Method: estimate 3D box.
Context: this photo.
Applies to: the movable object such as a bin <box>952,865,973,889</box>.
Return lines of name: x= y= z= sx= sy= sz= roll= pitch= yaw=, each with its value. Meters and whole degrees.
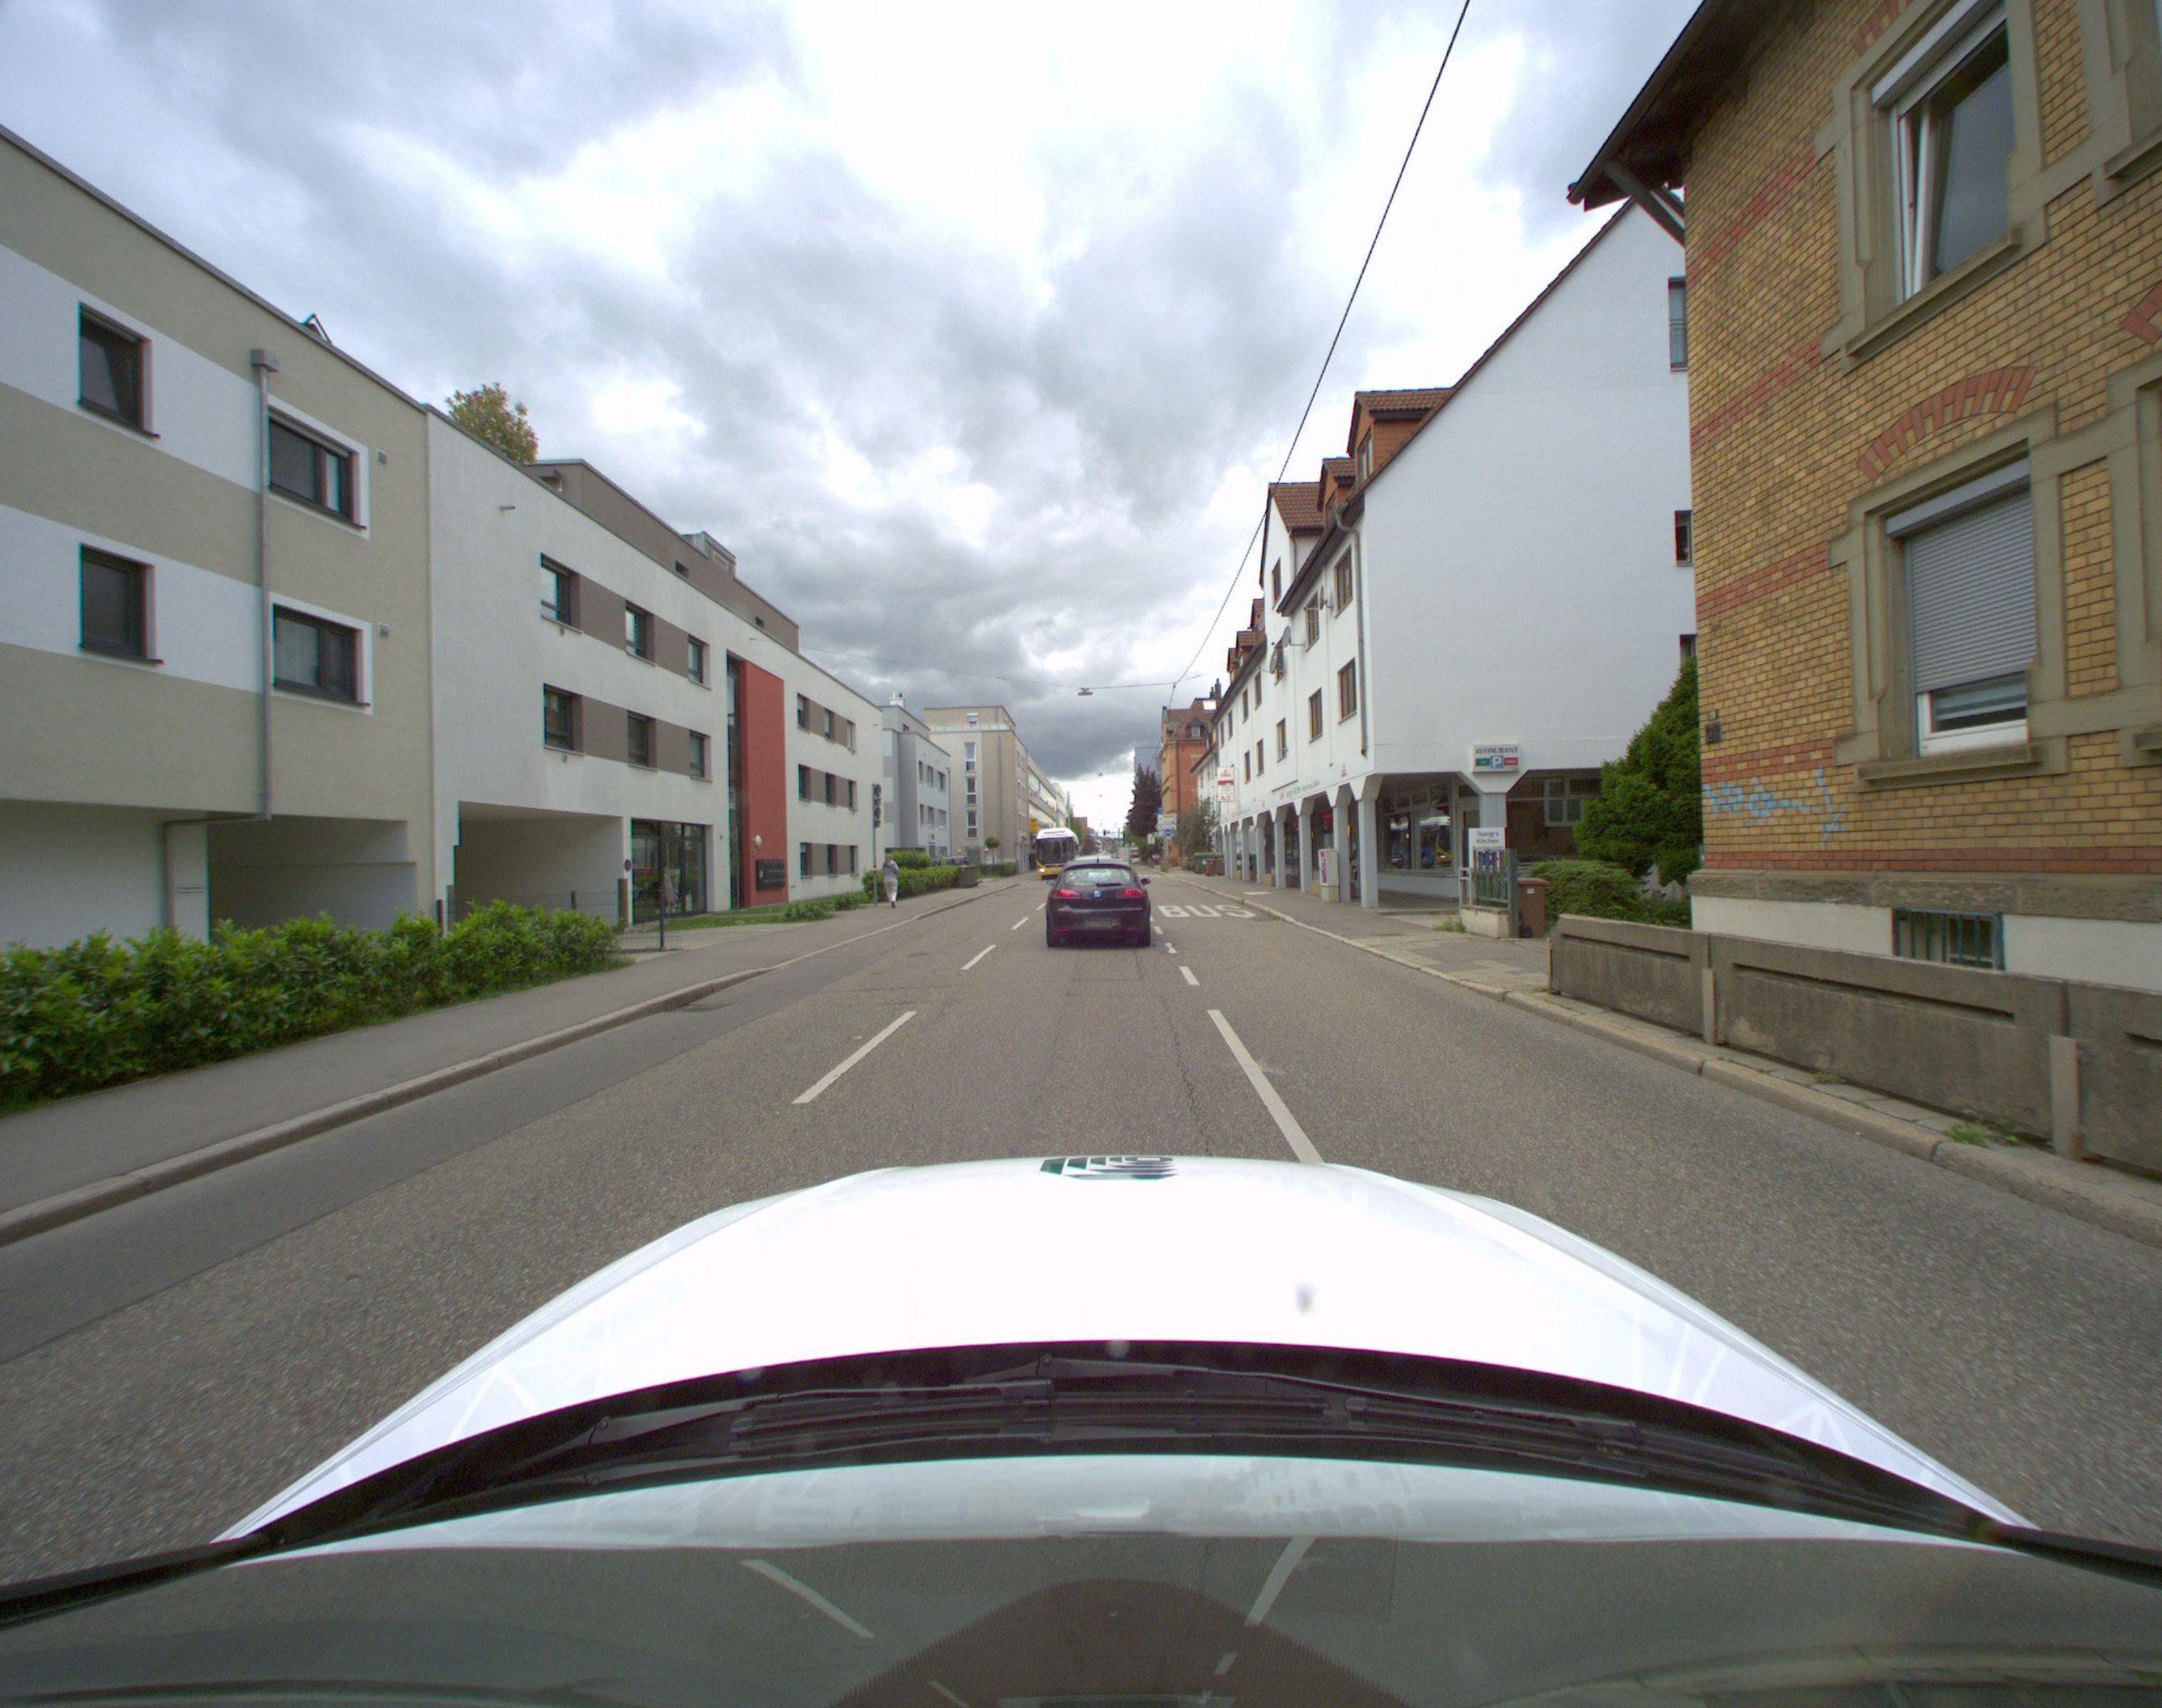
movable object such as a bin: x=-5.679 y=1.104 z=38.943 sx=0.892 sy=1.089 sz=0.792 roll=-1 pitch=0 yaw=-3

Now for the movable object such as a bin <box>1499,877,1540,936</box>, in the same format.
movable object such as a bin: x=6.914 y=0.821 z=12.851 sx=0.396 sy=0.904 sz=0.456 roll=-1 pitch=0 yaw=2

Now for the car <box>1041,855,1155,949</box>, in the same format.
car: x=0.327 y=0.762 z=14.689 sx=1.759 sy=1.433 sz=3.830 roll=-1 pitch=0 yaw=2

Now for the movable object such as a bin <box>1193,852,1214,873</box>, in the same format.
movable object such as a bin: x=8.287 y=0.584 z=55.169 sx=1.262 sy=1.417 sz=1.163 roll=-1 pitch=0 yaw=2

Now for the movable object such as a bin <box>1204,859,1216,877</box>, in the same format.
movable object such as a bin: x=8.128 y=0.869 z=51.246 sx=0.680 sy=1.067 sz=0.973 roll=-1 pitch=0 yaw=6

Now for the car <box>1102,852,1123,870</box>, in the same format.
car: x=2.838 y=0.621 z=74.011 sx=1.797 sy=1.553 sz=3.738 roll=-1 pitch=0 yaw=1

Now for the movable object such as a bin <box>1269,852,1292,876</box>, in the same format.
movable object such as a bin: x=12.390 y=0.614 z=50.704 sx=1.203 sy=1.417 sz=1.261 roll=-1 pitch=0 yaw=5

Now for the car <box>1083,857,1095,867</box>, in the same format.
car: x=1.426 y=1.379 z=140.438 sx=1.872 sy=1.451 sz=4.215 roll=-4 pitch=0 yaw=1

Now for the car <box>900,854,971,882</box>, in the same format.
car: x=-9.316 y=0.872 z=52.417 sx=4.143 sy=1.667 sz=1.727 roll=-2 pitch=-1 yaw=5

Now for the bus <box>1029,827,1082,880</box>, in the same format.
bus: x=-1.600 y=-0.036 z=58.362 sx=2.931 sy=3.274 sz=12.012 roll=-3 pitch=0 yaw=2

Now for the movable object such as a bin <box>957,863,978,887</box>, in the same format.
movable object such as a bin: x=-5.691 y=1.050 z=40.695 sx=0.946 sy=1.151 sz=0.748 roll=-1 pitch=0 yaw=-3

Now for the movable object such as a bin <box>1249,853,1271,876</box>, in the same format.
movable object such as a bin: x=11.141 y=0.636 z=50.782 sx=1.203 sy=1.417 sz=1.261 roll=-1 pitch=0 yaw=5

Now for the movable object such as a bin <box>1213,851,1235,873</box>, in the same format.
movable object such as a bin: x=9.624 y=0.535 z=54.841 sx=1.262 sy=1.435 sz=1.308 roll=-1 pitch=0 yaw=2

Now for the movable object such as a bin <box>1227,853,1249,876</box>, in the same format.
movable object such as a bin: x=9.784 y=0.664 z=50.832 sx=1.203 sy=1.417 sz=1.261 roll=-1 pitch=0 yaw=5

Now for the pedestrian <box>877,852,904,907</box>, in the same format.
pedestrian: x=-5.727 y=0.764 z=24.482 sx=0.636 sy=1.642 sz=0.520 roll=-1 pitch=0 yaw=1

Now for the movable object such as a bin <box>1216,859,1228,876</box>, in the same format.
movable object such as a bin: x=8.854 y=0.848 z=51.203 sx=0.694 sy=1.079 sz=0.973 roll=-1 pitch=0 yaw=6

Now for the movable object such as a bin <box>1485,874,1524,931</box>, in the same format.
movable object such as a bin: x=6.988 y=0.793 z=13.458 sx=0.396 sy=0.904 sz=0.456 roll=-1 pitch=0 yaw=2

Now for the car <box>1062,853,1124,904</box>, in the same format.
car: x=0.401 y=0.732 z=26.069 sx=1.797 sy=1.492 sz=3.738 roll=-1 pitch=0 yaw=1

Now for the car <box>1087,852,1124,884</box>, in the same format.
car: x=1.251 y=0.682 z=42.051 sx=1.797 sy=1.553 sz=3.738 roll=-1 pitch=0 yaw=1

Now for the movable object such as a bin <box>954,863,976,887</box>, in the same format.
movable object such as a bin: x=-5.675 y=1.025 z=39.861 sx=0.954 sy=1.151 sz=0.839 roll=-1 pitch=0 yaw=-3

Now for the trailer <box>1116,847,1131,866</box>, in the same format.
trailer: x=6.218 y=0.377 z=119.340 sx=1.986 sy=2.607 sz=5.350 roll=-1 pitch=0 yaw=1
